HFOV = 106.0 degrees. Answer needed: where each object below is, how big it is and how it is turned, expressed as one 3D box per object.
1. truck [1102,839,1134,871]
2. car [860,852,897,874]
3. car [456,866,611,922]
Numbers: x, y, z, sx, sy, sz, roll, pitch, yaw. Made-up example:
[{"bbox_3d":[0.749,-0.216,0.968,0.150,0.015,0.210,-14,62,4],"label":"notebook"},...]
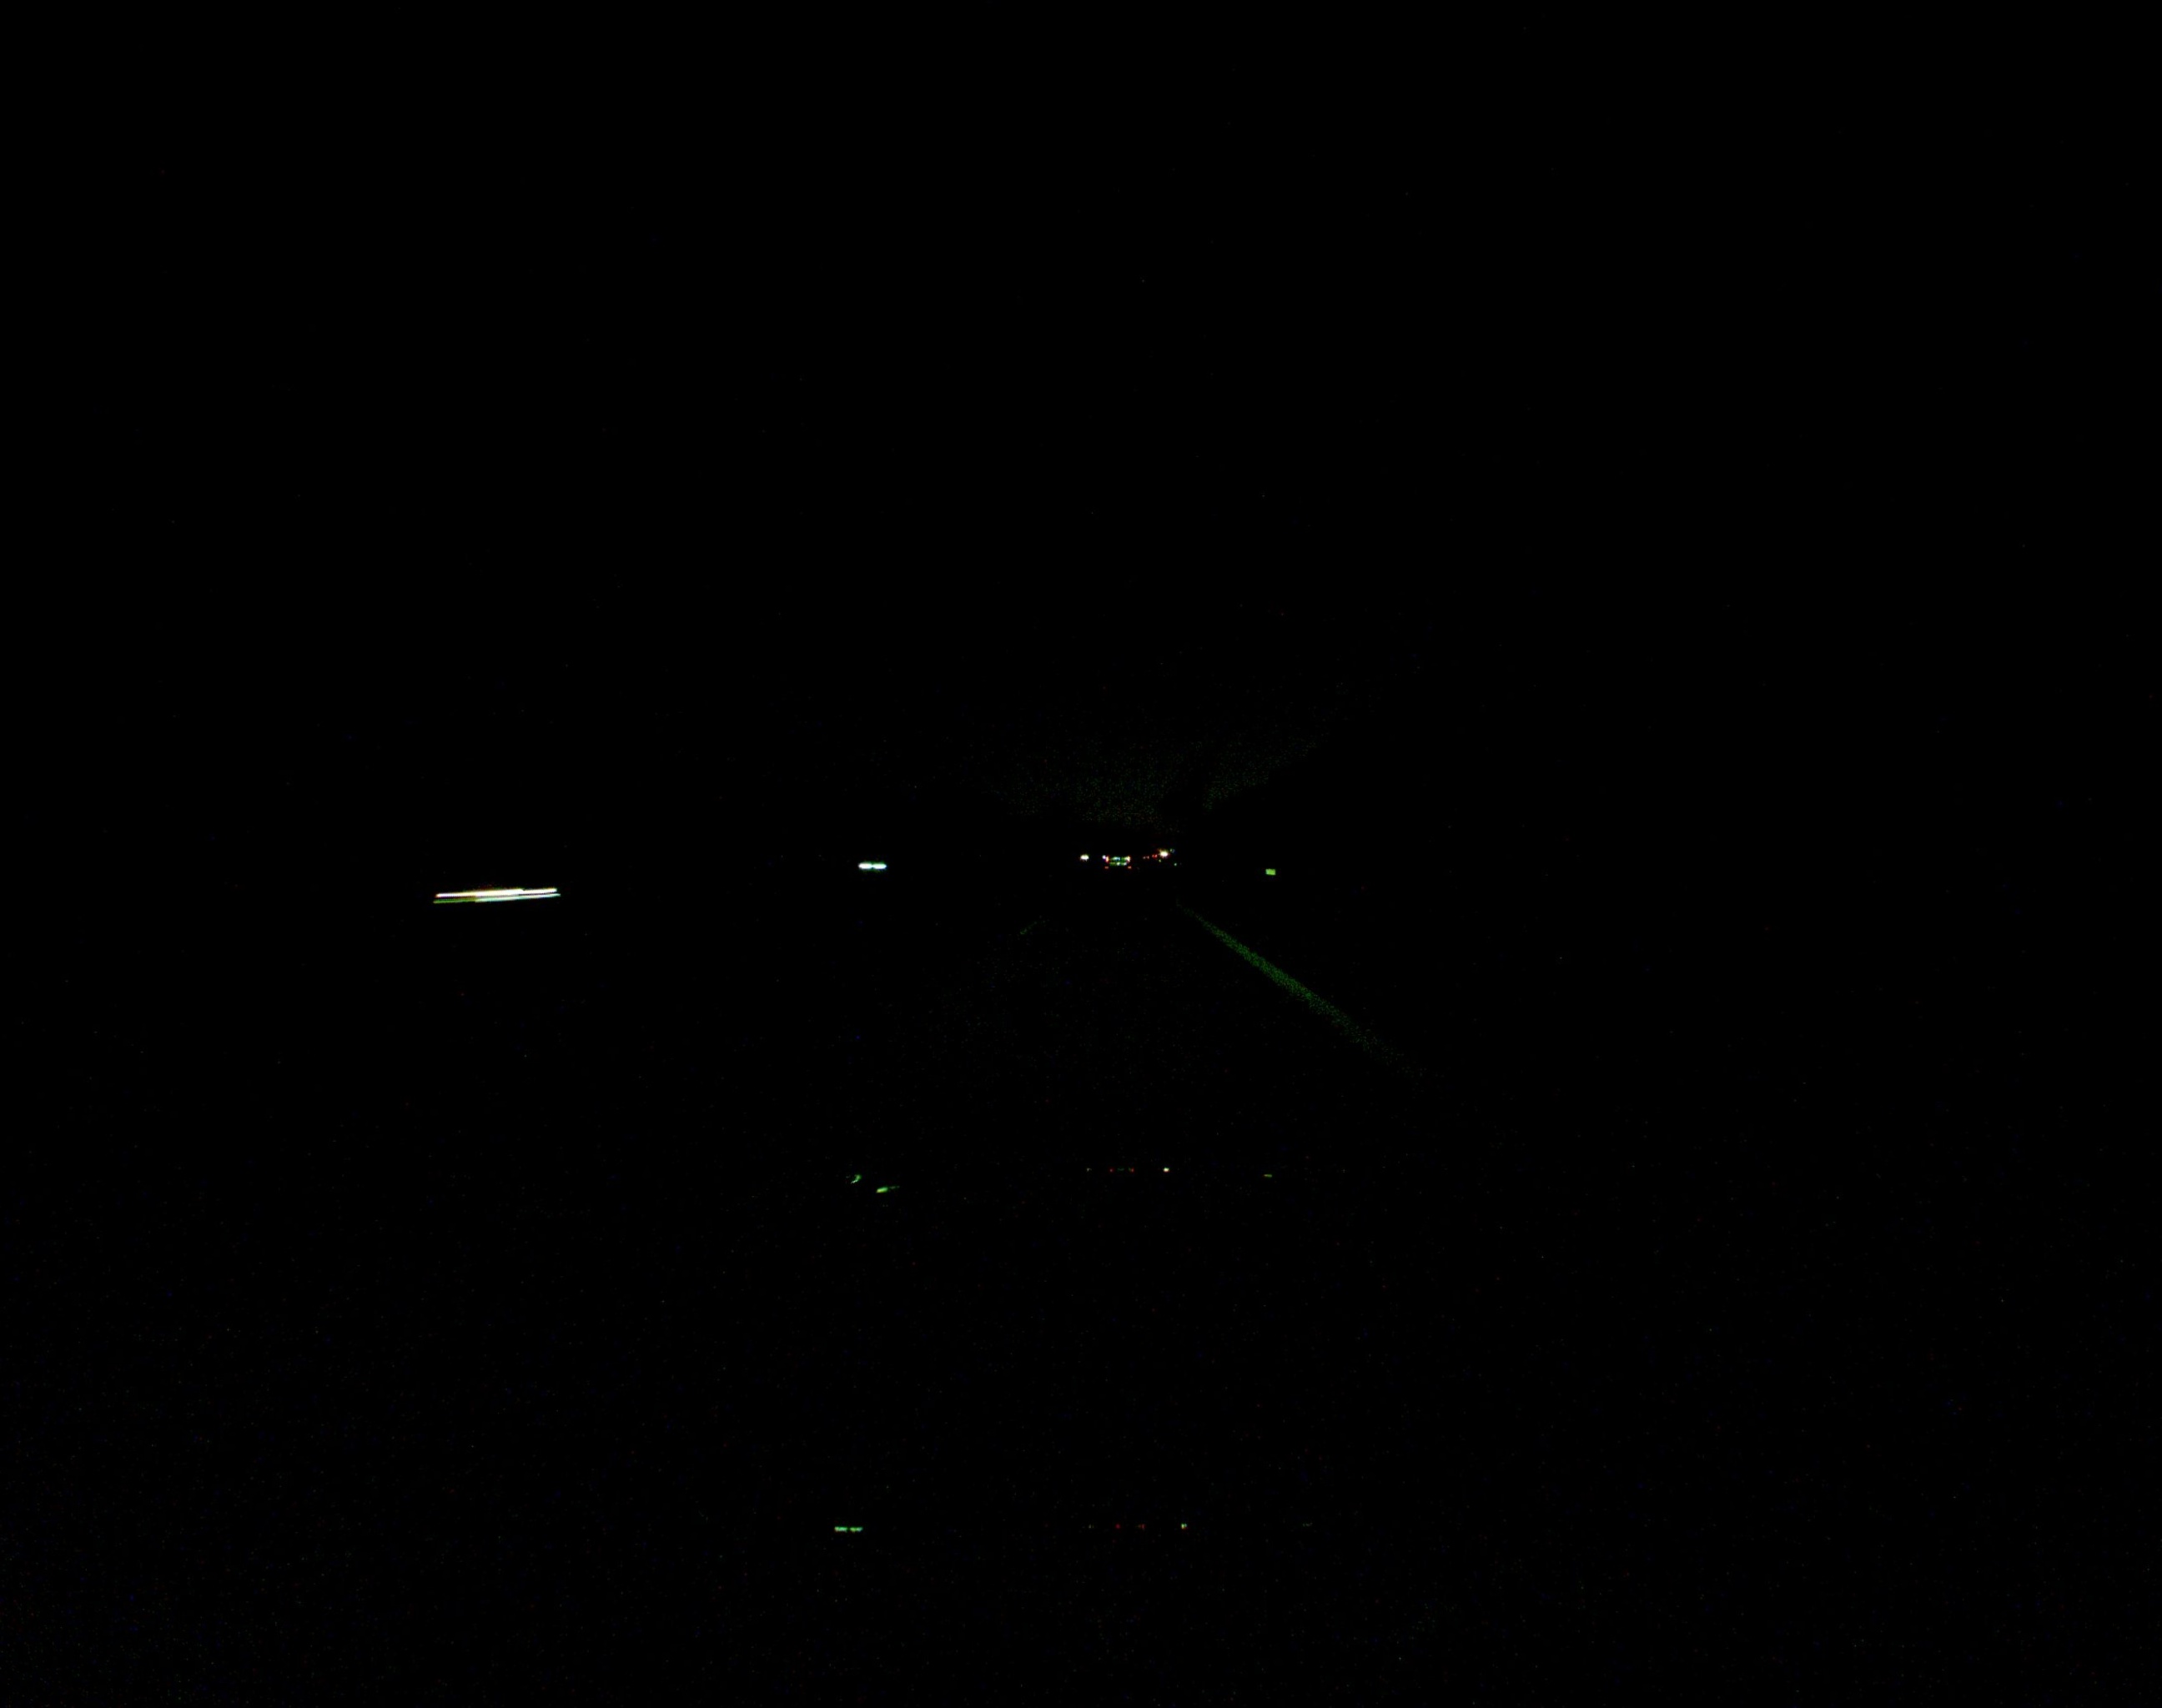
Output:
[{"bbox_3d":[3.188,0.121,71.769,2.621,2.624,8.686,0,-1,1],"label":"truck"},{"bbox_3d":[-19.055,0.871,76.895,2.018,2.014,5.190,-1,-1,3],"label":"car"},{"bbox_3d":[-17.311,1.206,26.049,1.986,1.602,4.214,-1,-1,2],"label":"car"}]
